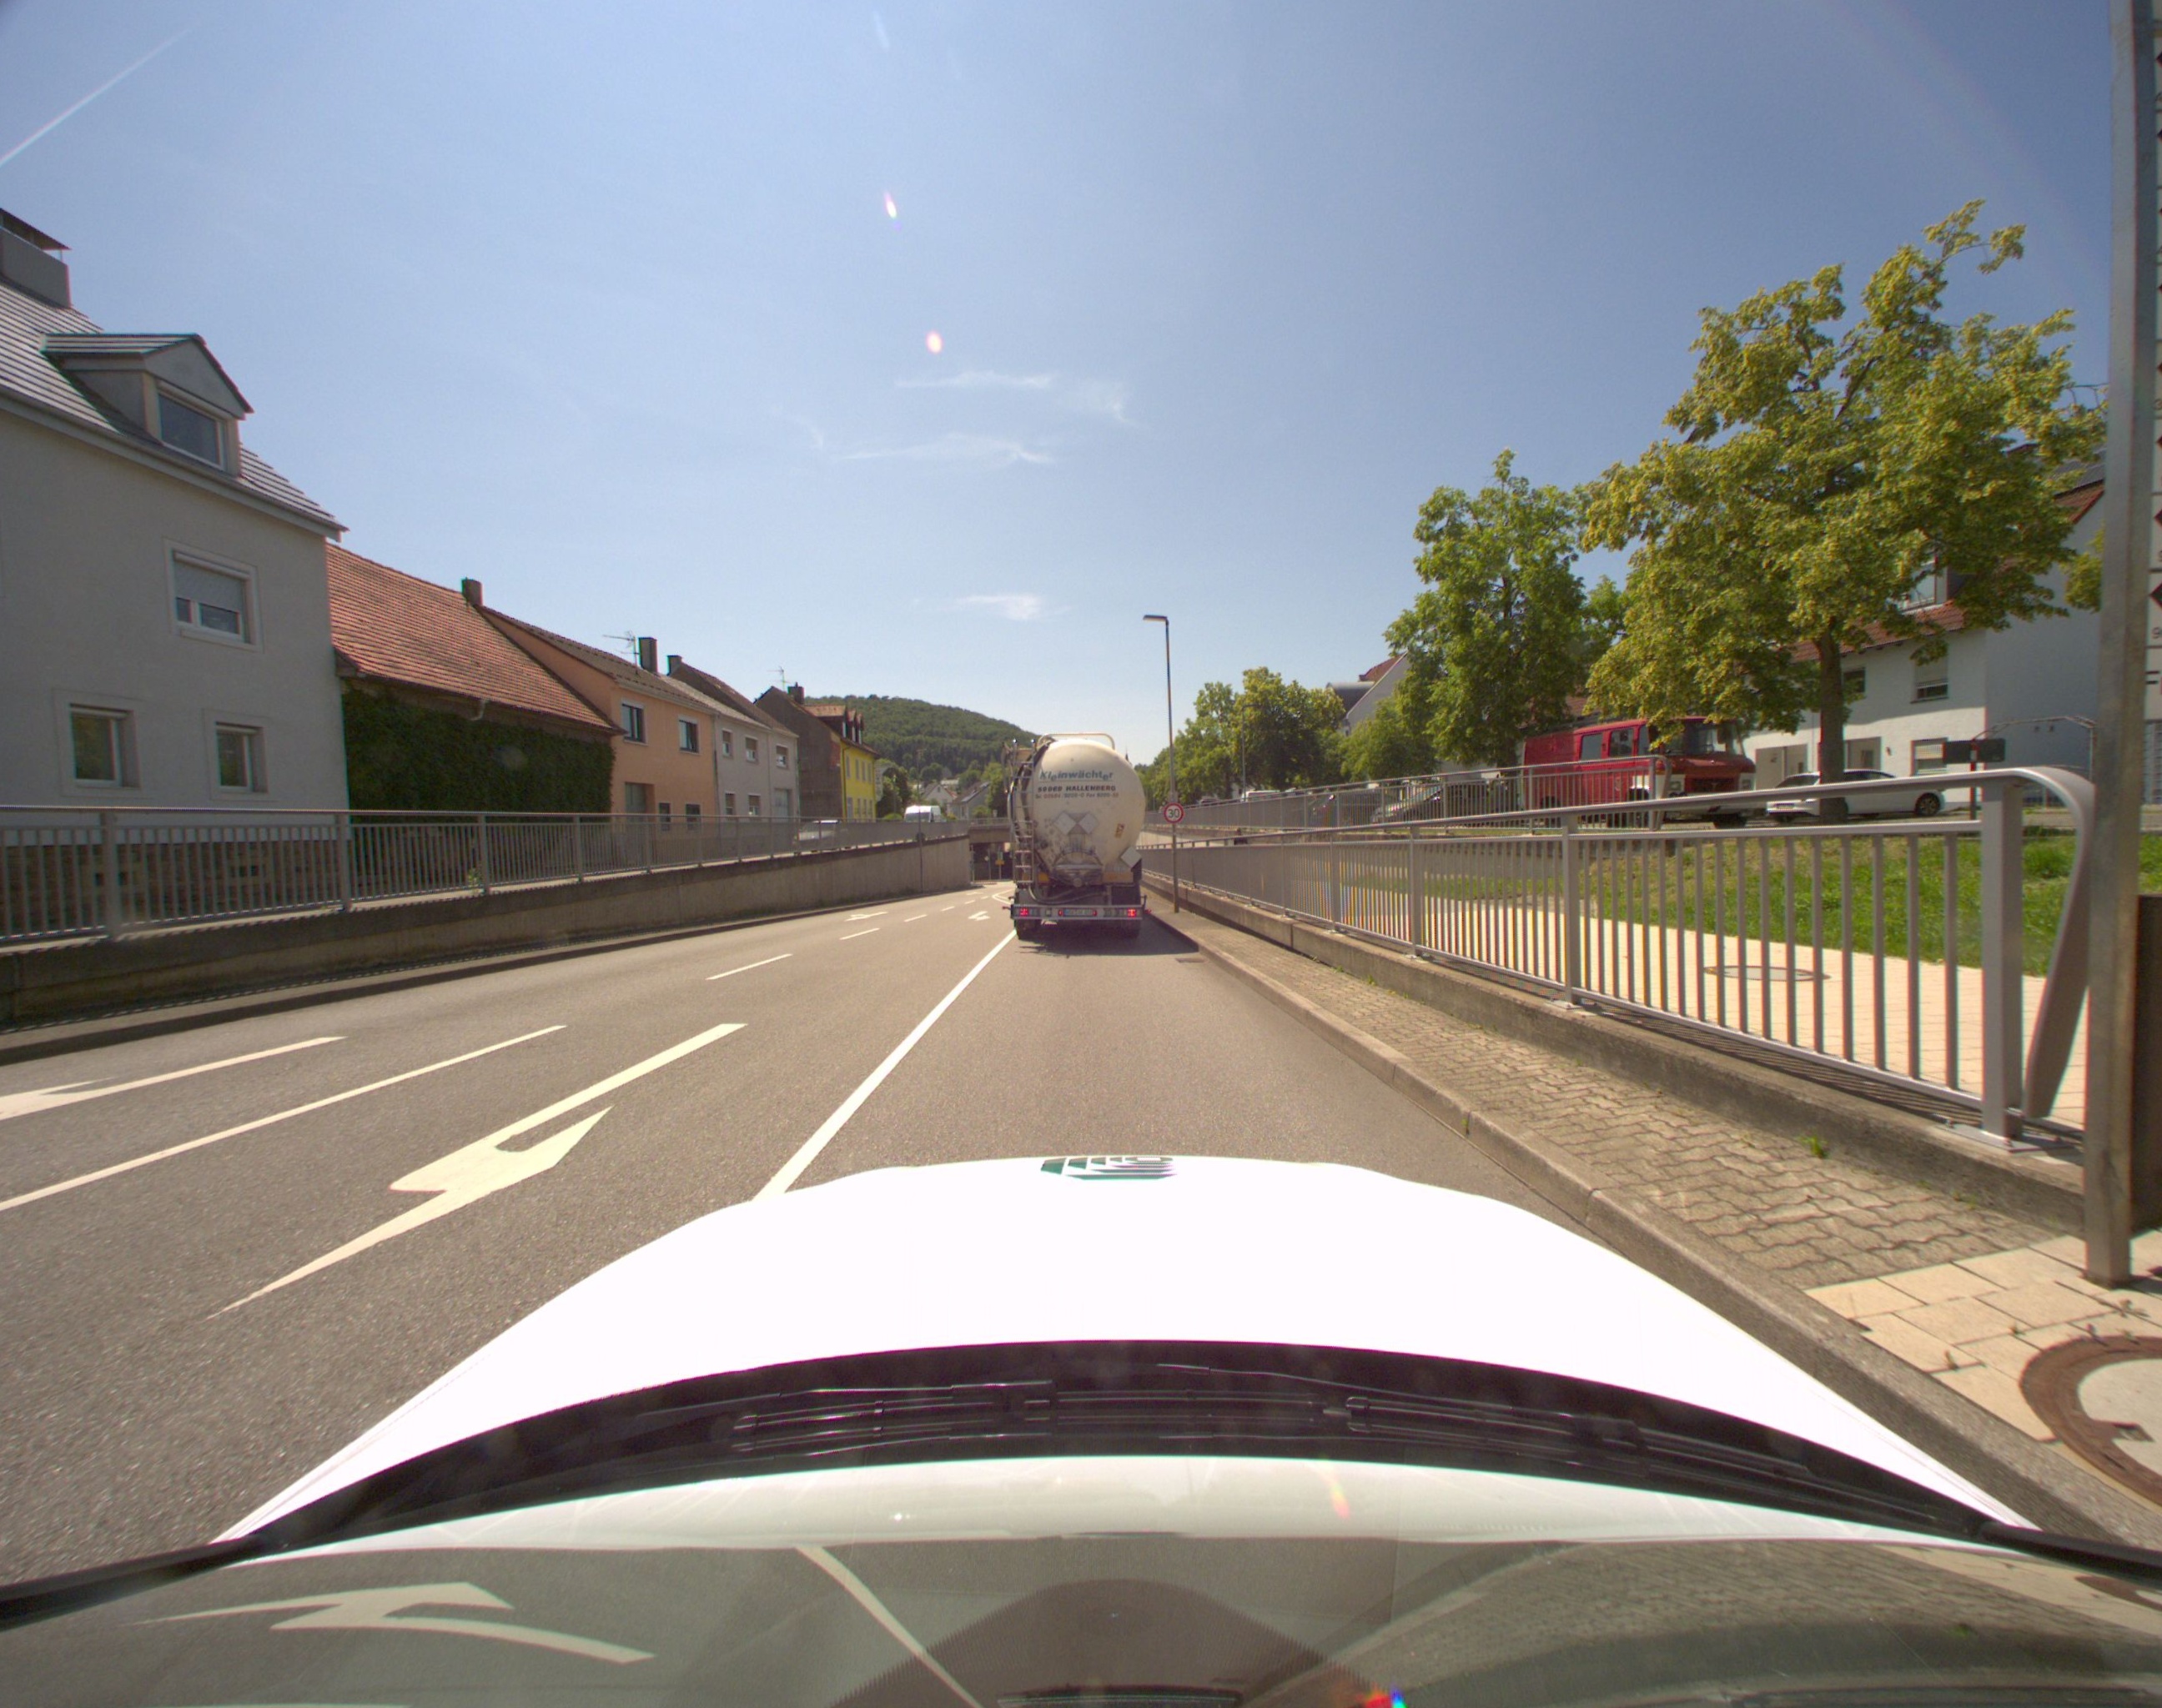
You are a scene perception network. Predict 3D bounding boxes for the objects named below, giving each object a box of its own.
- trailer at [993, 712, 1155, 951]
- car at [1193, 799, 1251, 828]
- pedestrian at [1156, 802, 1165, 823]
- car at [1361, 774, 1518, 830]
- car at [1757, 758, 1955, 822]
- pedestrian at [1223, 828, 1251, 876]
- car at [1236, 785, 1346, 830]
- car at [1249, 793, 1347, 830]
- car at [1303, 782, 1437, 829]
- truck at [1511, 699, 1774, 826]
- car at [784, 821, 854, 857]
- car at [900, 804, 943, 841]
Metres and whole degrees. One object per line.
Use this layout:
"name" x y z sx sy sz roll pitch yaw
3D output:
"trailer" -0.048 -0.268 20.471 2.726 4.065 13.311 0 -1 1
"car" 10.080 -2.897 58.405 3.892 1.885 1.686 -2 2 0
"pedestrian" 7.002 -3.651 71.452 0.670 1.779 0.594 -2 1 1
"car" 10.765 -1.554 24.616 3.973 1.498 1.749 -2 2 0
"car" 21.736 -1.762 22.945 3.925 1.478 1.757 -4 2 -1
"pedestrian" 5.896 -0.067 30.796 0.833 1.782 0.788 -2 0 0
"car" 10.626 -2.371 41.508 5.095 2.063 1.989 -2 2 0
"car" 10.267 -2.007 38.704 4.190 1.596 1.686 -2 2 0
"car" 10.334 -1.726 29.303 4.190 1.498 1.686 -2 2 0
"truck" 11.964 -1.815 17.945 2.126 2.334 5.258 -2 2 -1
"car" -11.541 -0.714 36.141 1.808 1.462 4.307 0 2 -2
"car" -11.440 -2.273 58.902 2.059 2.536 5.660 0 2 -1
